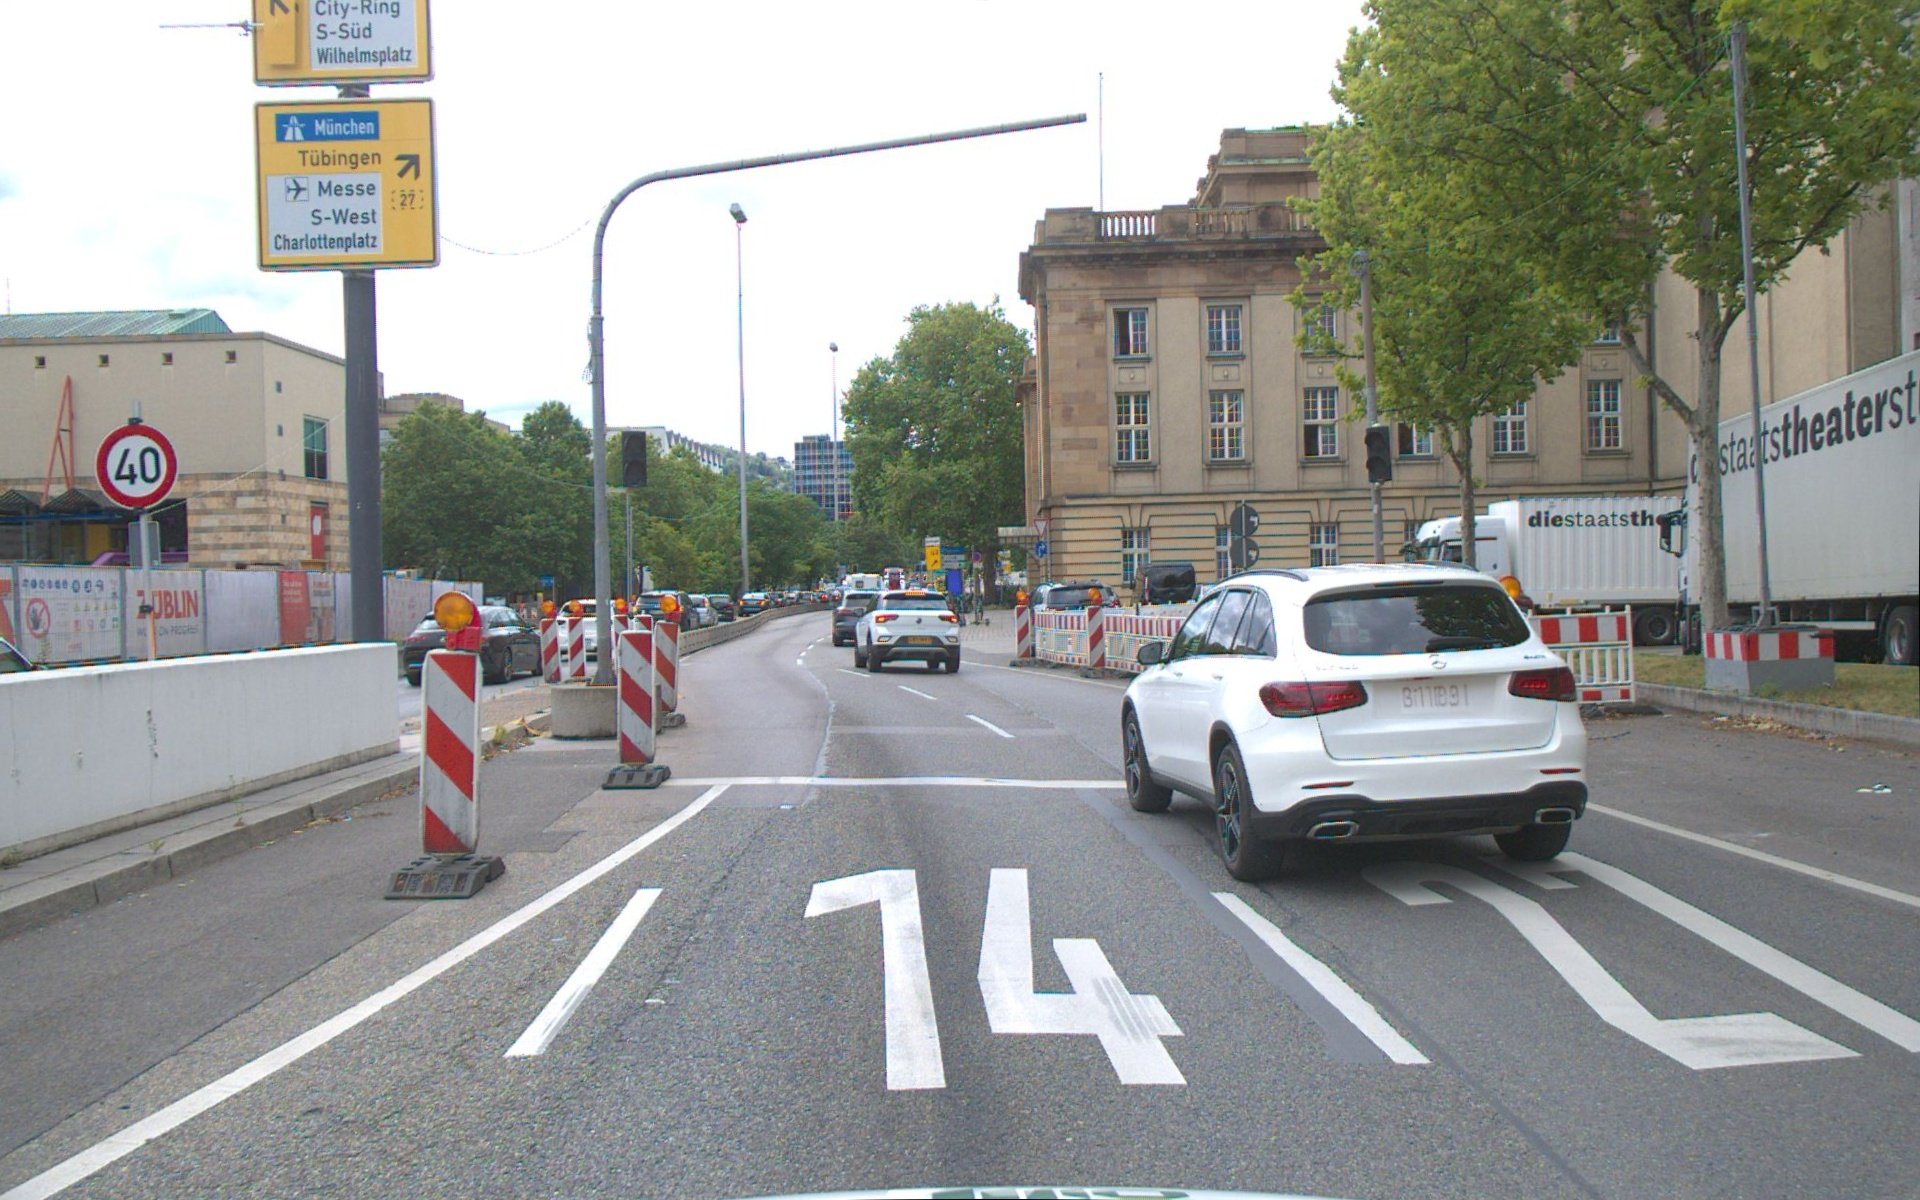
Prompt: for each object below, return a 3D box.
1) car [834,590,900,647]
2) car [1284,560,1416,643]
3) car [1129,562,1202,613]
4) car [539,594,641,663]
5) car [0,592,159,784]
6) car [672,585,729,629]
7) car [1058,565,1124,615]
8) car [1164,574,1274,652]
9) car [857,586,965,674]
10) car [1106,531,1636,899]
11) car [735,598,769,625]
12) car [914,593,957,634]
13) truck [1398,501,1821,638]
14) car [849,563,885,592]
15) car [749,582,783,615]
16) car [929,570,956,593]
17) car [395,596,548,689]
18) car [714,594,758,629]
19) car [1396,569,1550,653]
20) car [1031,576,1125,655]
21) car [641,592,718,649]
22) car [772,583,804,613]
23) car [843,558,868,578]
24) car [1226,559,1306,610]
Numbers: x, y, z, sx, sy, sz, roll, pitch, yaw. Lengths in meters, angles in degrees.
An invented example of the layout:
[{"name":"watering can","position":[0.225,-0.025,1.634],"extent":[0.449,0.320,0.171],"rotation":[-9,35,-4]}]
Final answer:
[{"name":"car","position":[-2.901,0.533,50.802],"extent":[1.788,1.595,4.474],"rotation":[2,1,-6]},{"name":"car","position":[8.140,0.042,34.906],"extent":[1.715,1.595,4.331],"rotation":[-1,0,0]},{"name":"car","position":[6.791,-0.380,54.994],"extent":[1.818,1.595,4.331],"rotation":[-1,0,0]},{"name":"car","position":[-9.097,0.665,40.906],"extent":[1.715,1.595,3.377],"rotation":[-1,0,0]},{"name":"car","position":[-9.368,0.797,15.306],"extent":[1.953,1.670,3.999],"rotation":[-2,0,-1]},{"name":"car","position":[-10.083,0.266,64.524],"extent":[1.716,1.595,4.328],"rotation":[-1,0,-3]},{"name":"car","position":[4.374,-0.305,55.672],"extent":[1.818,1.595,4.331],"rotation":[-1,0,0]},{"name":"car","position":[5.718,0.295,36.956],"extent":[1.715,1.595,4.331],"rotation":[-1,0,0]},{"name":"car","position":[-1.044,0.557,33.082],"extent":[1.717,1.595,4.324],"rotation":[-1,0,-7]},{"name":"car","position":[2.221,0.535,10.336],"extent":[1.776,1.671,4.548],"rotation":[-4,1,-5]},{"name":"car","position":[-12.745,0.690,101.587],"extent":[1.716,1.595,4.328],"rotation":[-1,0,-3]},{"name":"car","position":[-1.044,0.547,71.081],"extent":[1.786,1.595,4.479],"rotation":[1,1,-1]},{"name":"truck","position":[16.559,-0.762,42.600],"extent":[9.824,3.104,2.569],"rotation":[-2,-1,0]},{"name":"car","position":[-8.353,-2.011,148.696],"extent":[2.528,2.415,5.529],"rotation":[-2,1,4]},{"name":"car","position":[-13.020,-0.112,111.072],"extent":[1.954,2.048,3.998],"rotation":[-2,2,-3]},{"name":"car","position":[-1.973,-2.135,187.657],"extent":[2.528,2.415,5.529],"rotation":[-2,1,4]},{"name":"car","position":[-9.128,0.749,31.248],"extent":[1.715,1.595,4.329],"rotation":[-1,0,-2]},{"name":"car","position":[-10.682,0.546,79.190],"extent":[1.716,1.595,4.328],"rotation":[-1,0,-3]},{"name":"car","position":[10.544,0.230,34.328],"extent":[1.818,1.595,4.331],"rotation":[-1,0,0]},{"name":"car","position":[2.525,0.333,36.291],"extent":[1.715,1.595,4.331],"rotation":[-1,0,0]},{"name":"car","position":[-8.779,0.609,52.008],"extent":[1.715,1.595,3.377],"rotation":[-4,0,0]},{"name":"car","position":[-12.589,-0.155,121.109],"extent":[1.953,2.048,3.999],"rotation":[-2,2,-2]},{"name":"car","position":[-13.901,-4.264,220.968],"extent":[2.528,2.415,5.529],"rotation":[-2,1,4]},{"name":"car","position":[10.228,-0.501,55.543],"extent":[1.818,1.595,4.331],"rotation":[-1,0,0]}]
